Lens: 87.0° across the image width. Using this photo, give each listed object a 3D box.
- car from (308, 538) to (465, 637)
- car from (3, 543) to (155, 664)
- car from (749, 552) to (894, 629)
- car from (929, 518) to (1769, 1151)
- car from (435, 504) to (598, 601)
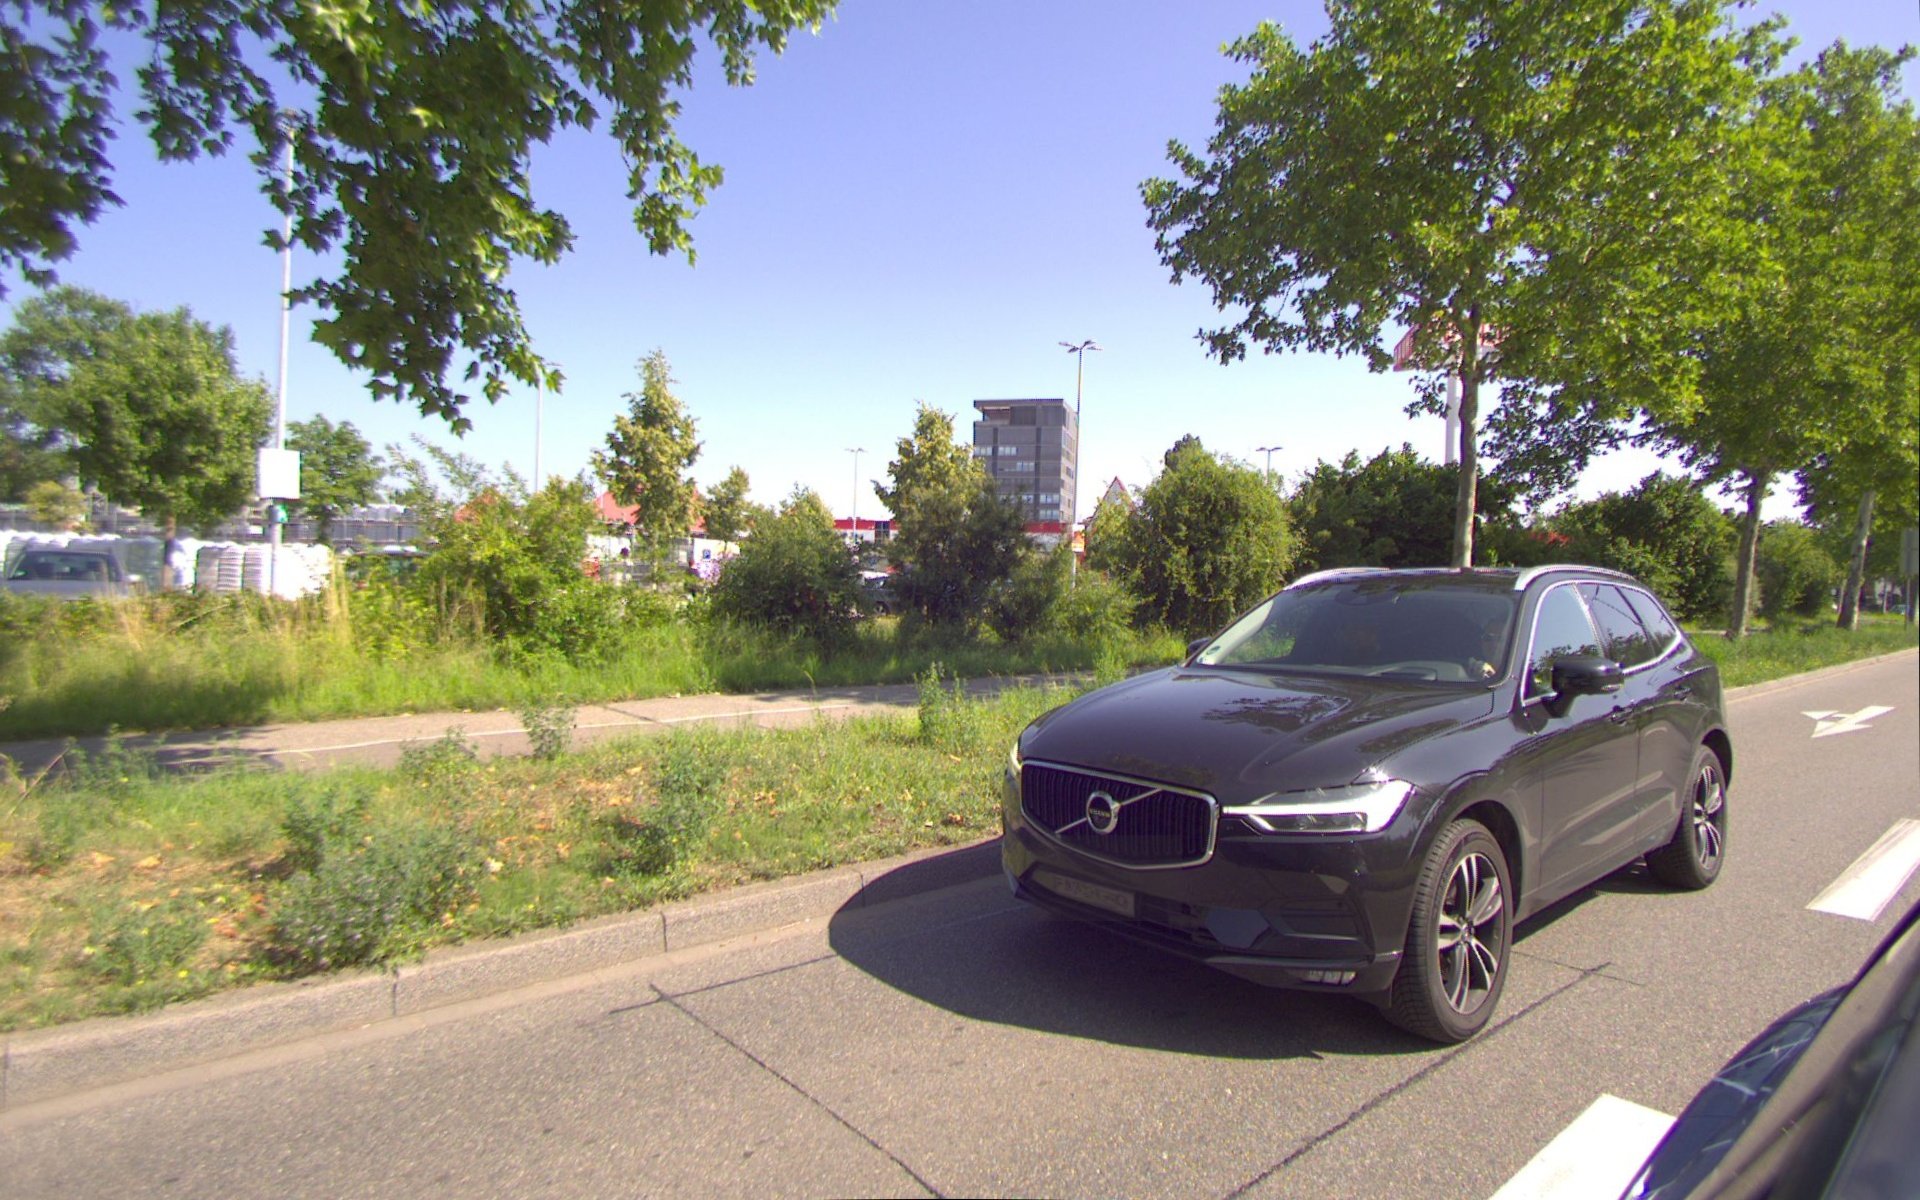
[{"bbox_3d":[-10.987,-0.243,19.306,3.548,1.717,1.692,1,1,44],"label":"car"},{"bbox_3d":[-14.112,0.022,16.173,1.691,1.717,3.551,0,1,-43],"label":"car"},{"bbox_3d":[-3.401,-0.233,24.404,1.658,1.692,3.827,0,1,-41],"label":"car"},{"bbox_3d":[2.179,0.580,4.845,4.486,1.643,1.922,-1,1,-42],"label":"car"},{"bbox_3d":[-9.218,-0.914,20.888,3.987,1.794,1.725,1,1,44],"label":"car"}]
